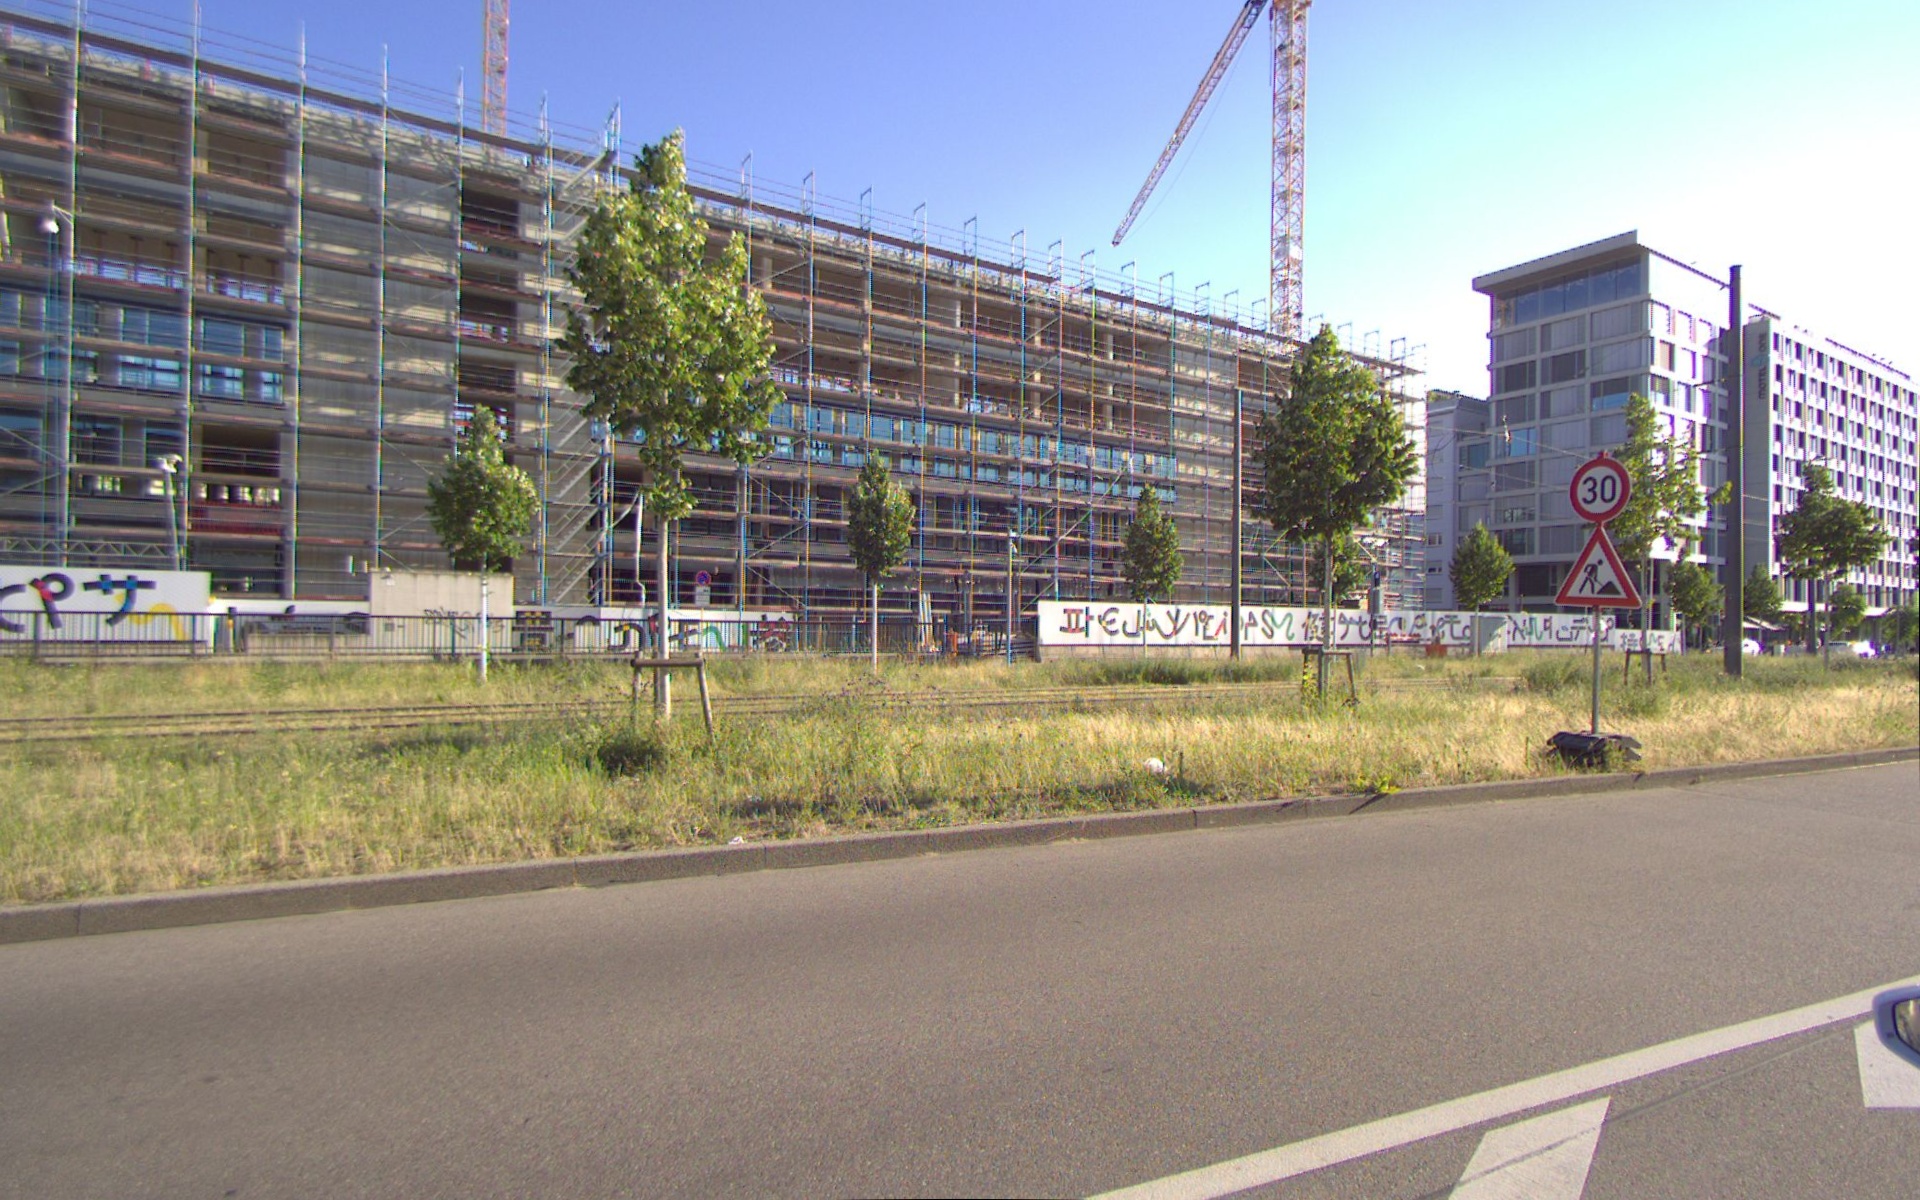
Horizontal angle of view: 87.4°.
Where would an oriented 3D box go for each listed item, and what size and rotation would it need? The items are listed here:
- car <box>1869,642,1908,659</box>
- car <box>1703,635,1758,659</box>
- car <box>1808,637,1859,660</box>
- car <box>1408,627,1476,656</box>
[{"bbox_3d":[84.049,4.568,90.902,3.543,1.461,1.699,2,0,-32],"label":"car"},{"bbox_3d":[49.739,3.019,64.823,3.543,1.461,1.699,2,0,-32],"label":"car"},{"bbox_3d":[59.980,3.347,68.968,3.543,1.461,1.699,2,0,-32],"label":"car"},{"bbox_3d":[26.111,2.257,54.443,3.543,1.461,1.699,2,0,-32],"label":"car"}]
